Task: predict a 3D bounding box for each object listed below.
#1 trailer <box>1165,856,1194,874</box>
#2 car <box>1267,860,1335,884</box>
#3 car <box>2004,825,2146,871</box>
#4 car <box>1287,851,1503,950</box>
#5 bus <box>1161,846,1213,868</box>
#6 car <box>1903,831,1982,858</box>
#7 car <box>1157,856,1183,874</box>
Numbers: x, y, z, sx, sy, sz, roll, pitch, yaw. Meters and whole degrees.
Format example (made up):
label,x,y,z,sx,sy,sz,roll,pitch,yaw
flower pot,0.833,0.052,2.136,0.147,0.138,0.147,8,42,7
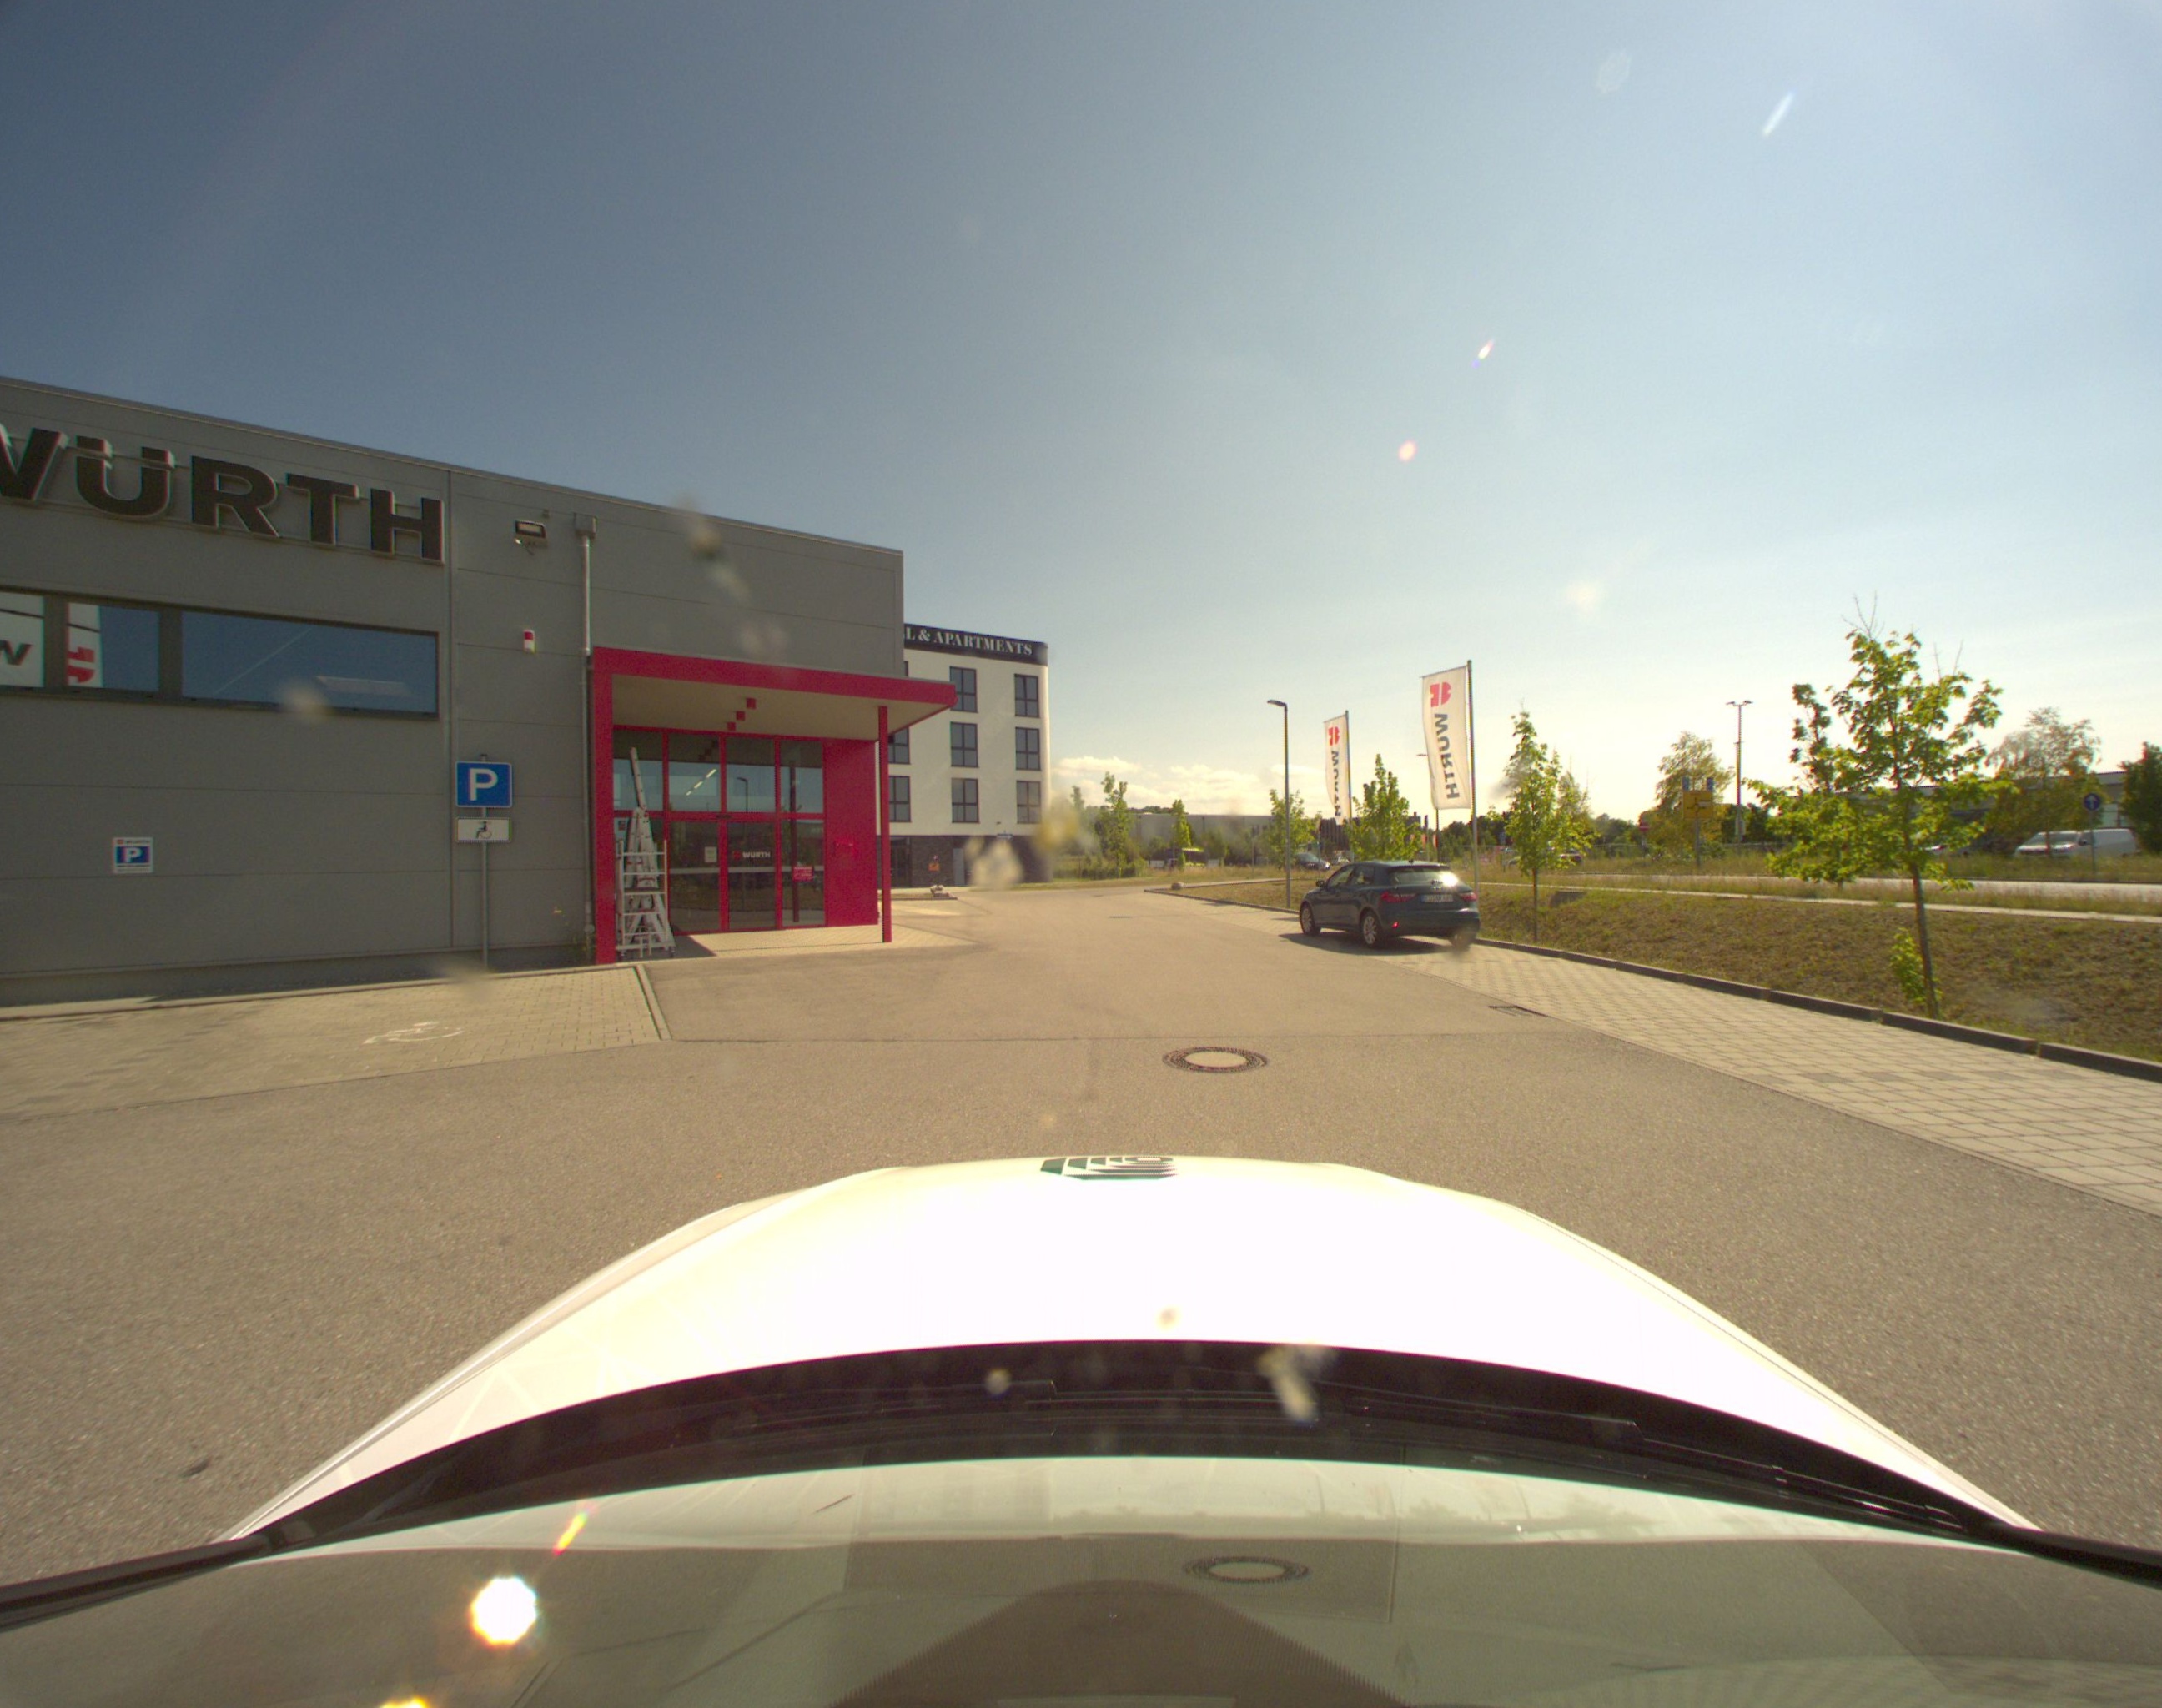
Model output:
label,x,y,z,sx,sy,sz,roll,pitch,yaw
trailer,10.411,1.177,86.265,1.823,1.860,3.984,0,-1,-11
car,14.751,1.190,54.825,1.949,1.551,4.724,0,-1,-23
car,46.606,-0.259,38.216,5.216,2.014,2.079,-1,-1,-13
car,5.304,0.709,14.440,1.838,1.449,4.217,-1,0,-7
bus,14.197,0.384,108.072,2.547,2.735,11.641,-1,0,30
car,67.998,-0.735,64.260,6.705,1.977,2.211,-1,-1,-24
car,9.825,1.211,90.152,1.823,1.860,3.984,0,-1,-11
